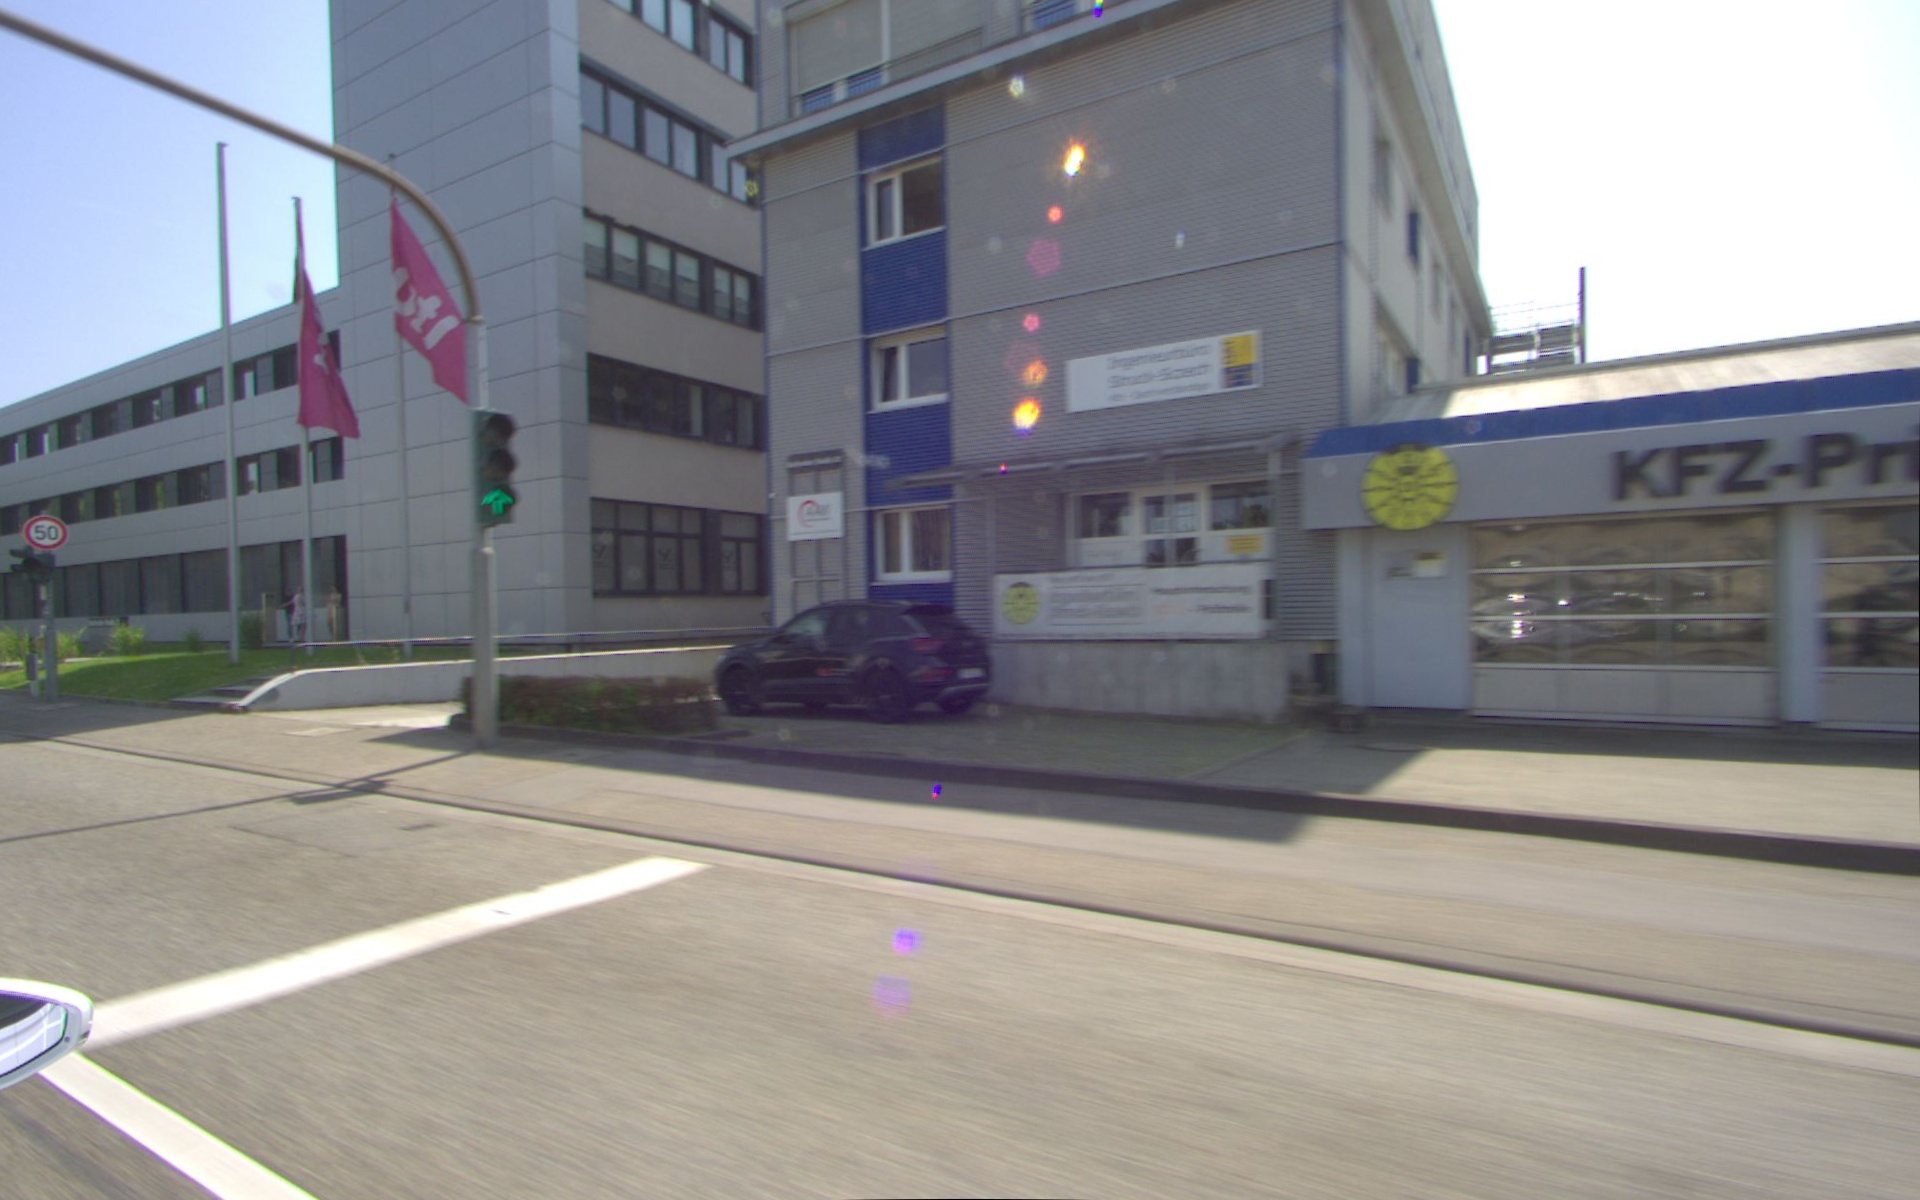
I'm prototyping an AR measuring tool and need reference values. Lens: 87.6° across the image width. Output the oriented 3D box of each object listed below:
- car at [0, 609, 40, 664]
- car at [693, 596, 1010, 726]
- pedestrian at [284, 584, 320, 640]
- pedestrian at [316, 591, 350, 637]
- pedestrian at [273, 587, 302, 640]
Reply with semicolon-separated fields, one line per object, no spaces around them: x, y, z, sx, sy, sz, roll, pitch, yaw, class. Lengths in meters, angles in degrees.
-31.608;1.194;30.948;1.969;1.712;4.254;-1;1;28;car
-1.558;0.787;13.852;4.137;1.551;1.840;-1;-1;33;car
-20.085;0.352;30.561;0.743;1.685;0.522;-1;1;15;pedestrian
-19.839;0.450;31.677;0.786;1.424;0.522;-1;1;22;pedestrian
-21.100;0.416;31.422;0.517;1.656;0.590;0;2;41;pedestrian
